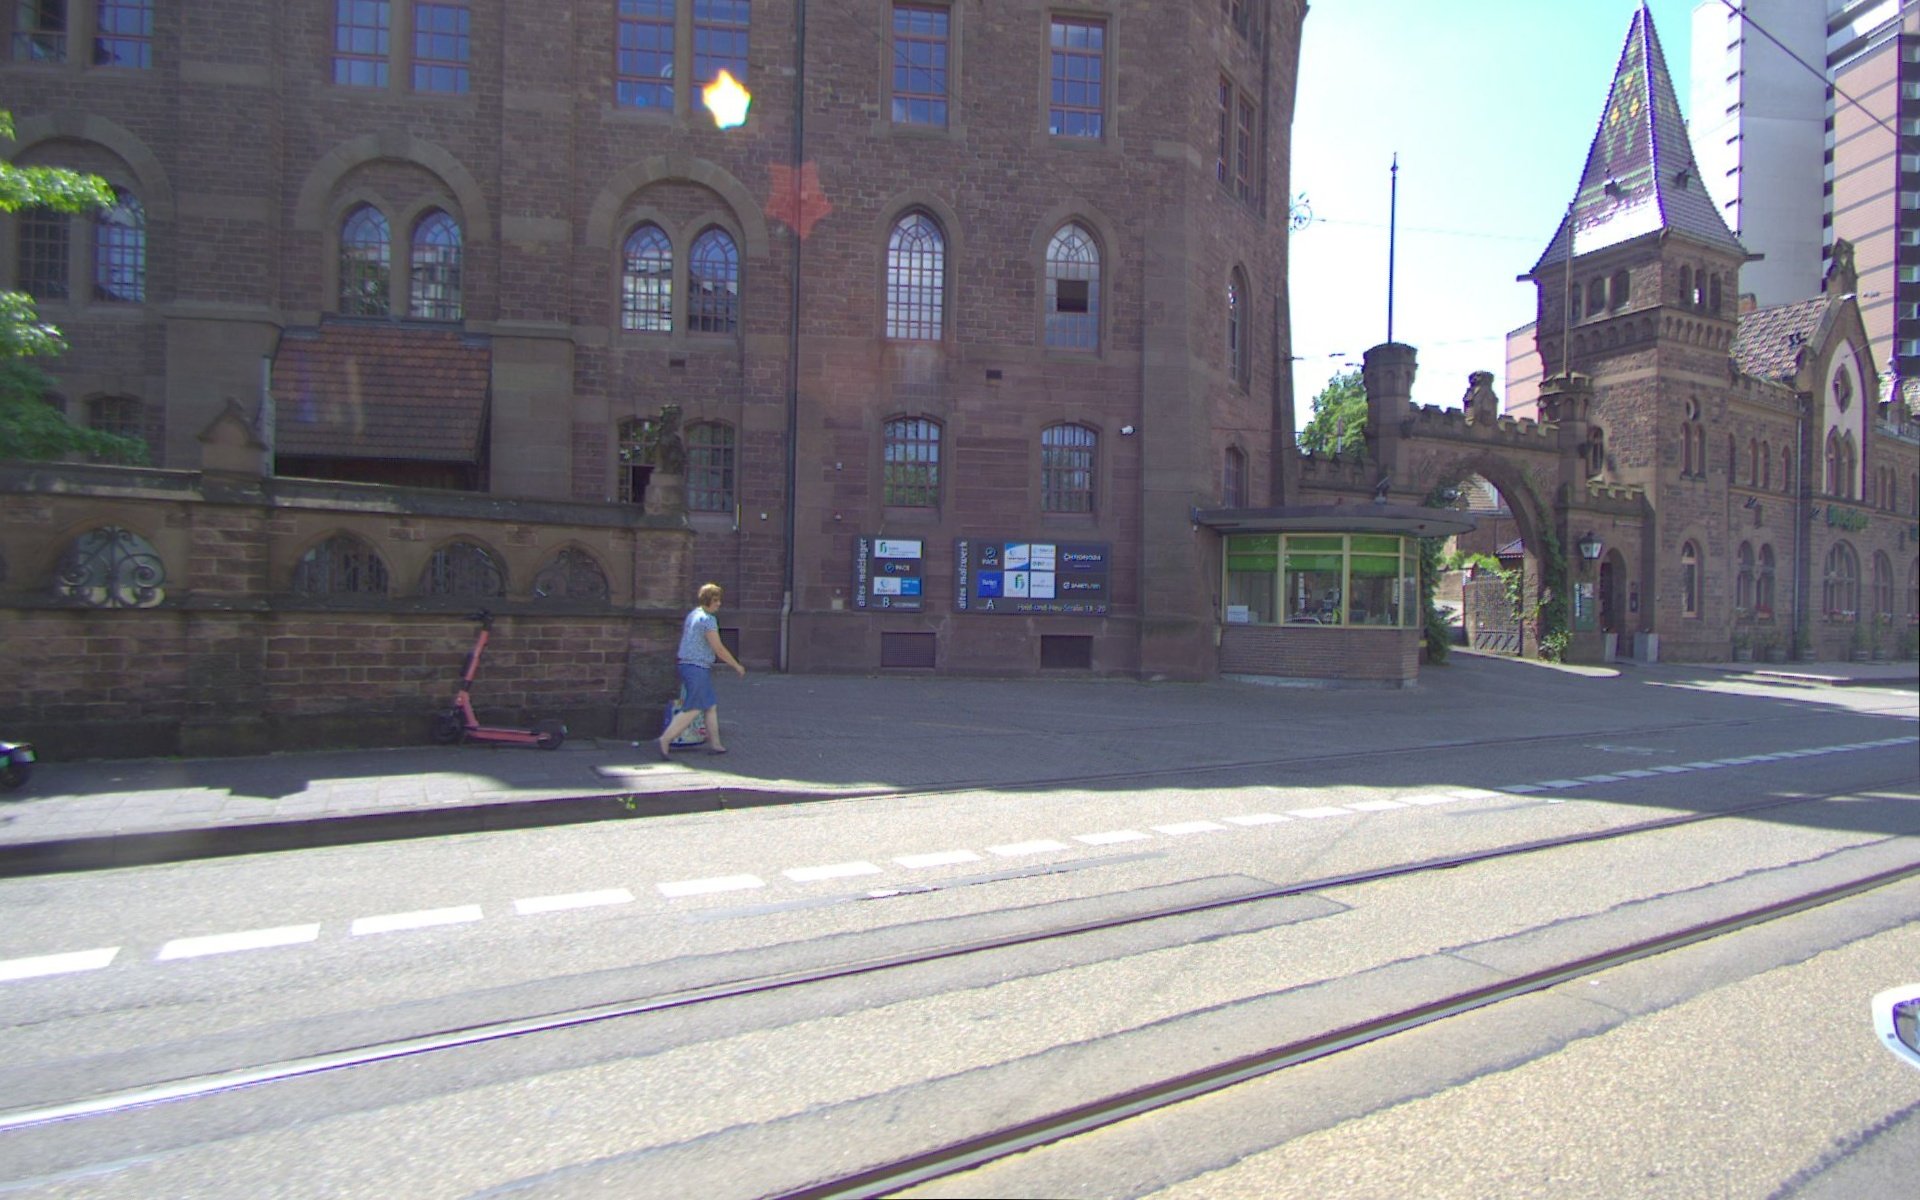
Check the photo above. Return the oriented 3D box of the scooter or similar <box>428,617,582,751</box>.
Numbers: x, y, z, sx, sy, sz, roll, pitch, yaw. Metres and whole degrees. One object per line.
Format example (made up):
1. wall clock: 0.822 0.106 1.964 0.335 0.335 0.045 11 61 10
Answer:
1. scooter or similar: -4.077 0.744 9.026 1.199 1.142 0.329 2 1 -2

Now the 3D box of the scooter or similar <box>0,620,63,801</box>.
1. scooter or similar: -6.754 0.705 6.819 1.200 1.142 0.349 3 1 14

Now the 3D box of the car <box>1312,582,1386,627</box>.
1. car: 15.461 0.113 39.813 1.731 1.515 3.984 3 4 36

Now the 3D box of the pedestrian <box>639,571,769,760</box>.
1. pedestrian: -2.368 0.577 9.244 0.909 1.610 0.795 2 2 -30
